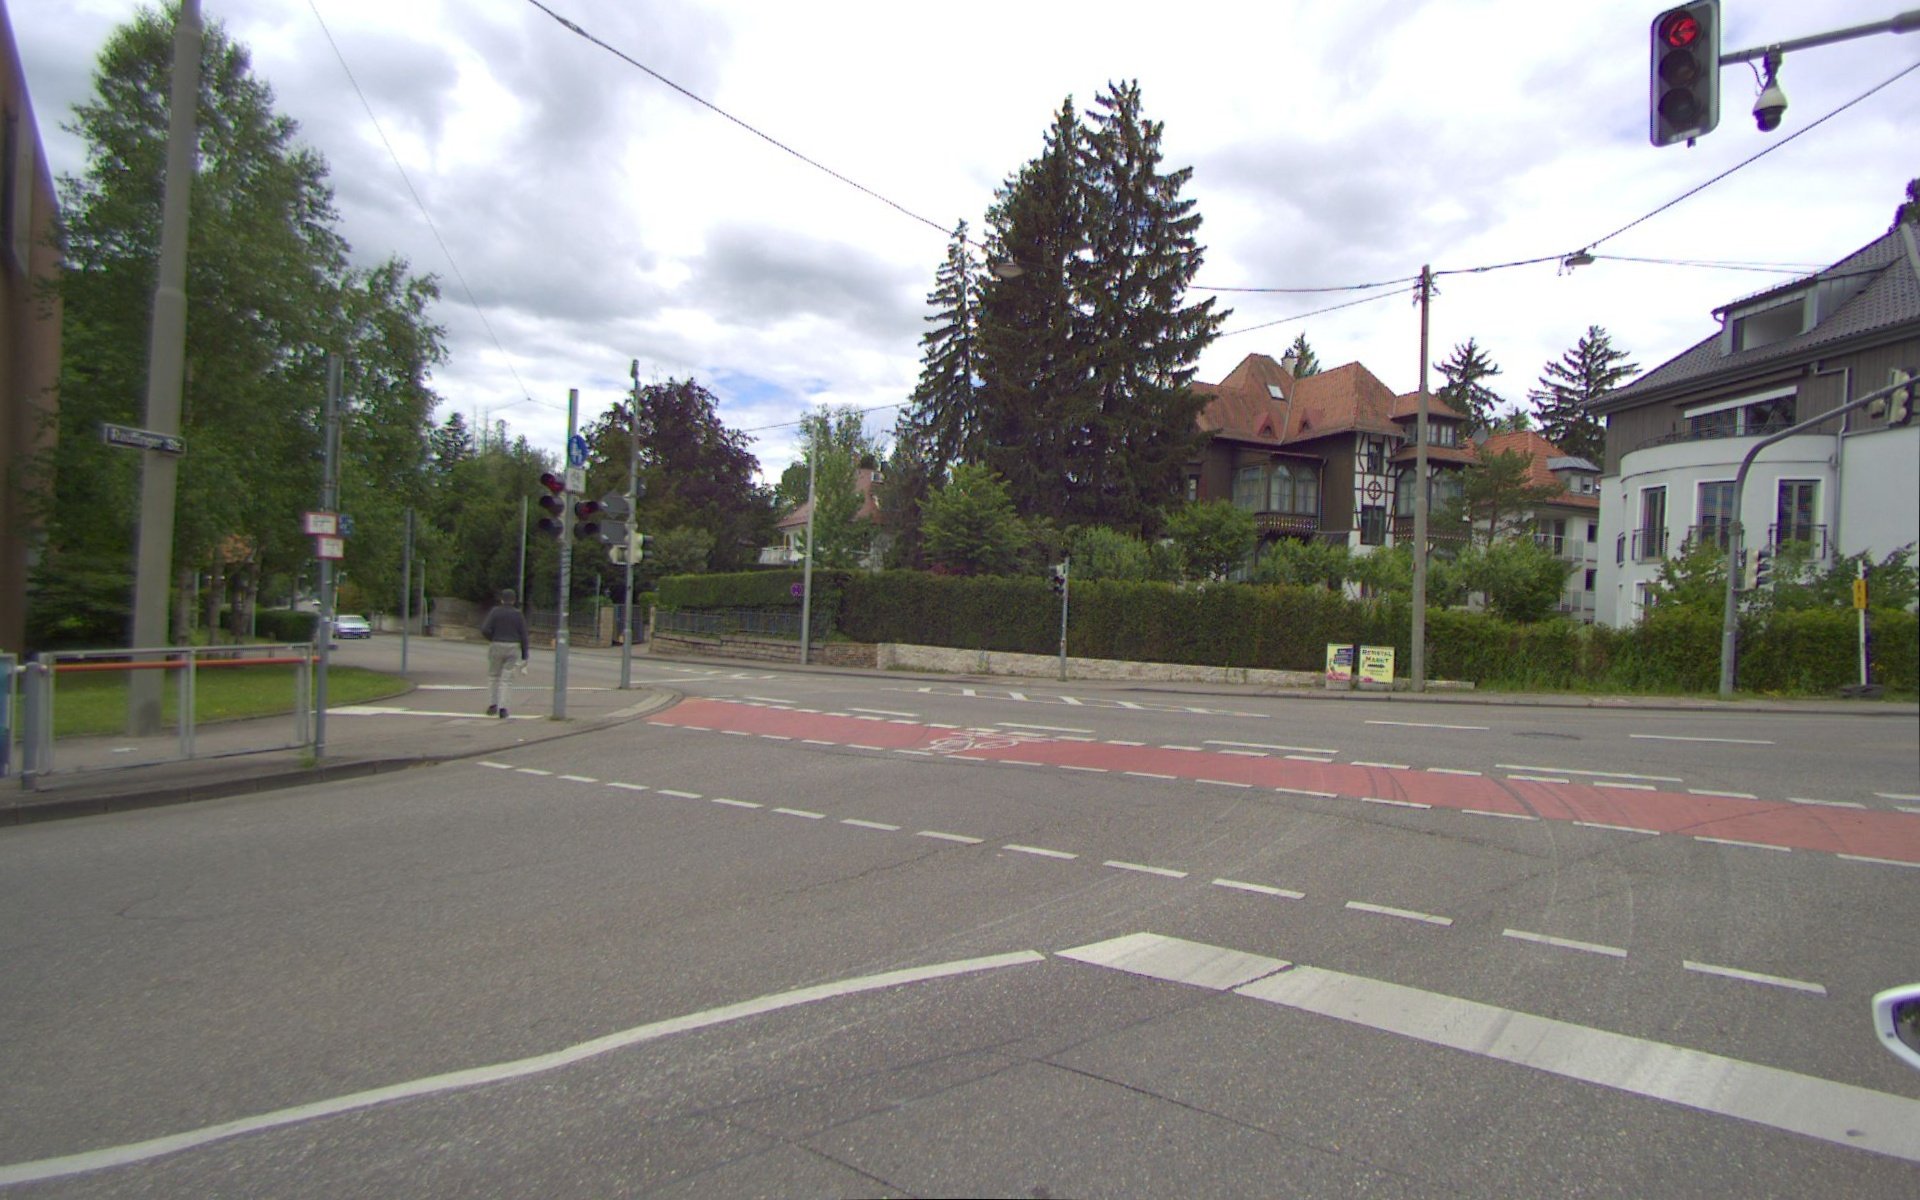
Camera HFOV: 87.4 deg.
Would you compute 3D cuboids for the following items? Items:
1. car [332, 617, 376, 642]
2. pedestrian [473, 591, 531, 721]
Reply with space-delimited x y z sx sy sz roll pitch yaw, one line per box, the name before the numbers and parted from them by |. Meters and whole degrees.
car | -37.723 1.820 62.503 1.695 1.432 4.374 1 0 -40
pedestrian | -6.050 0.715 13.277 0.674 1.655 0.735 0 -1 -25
